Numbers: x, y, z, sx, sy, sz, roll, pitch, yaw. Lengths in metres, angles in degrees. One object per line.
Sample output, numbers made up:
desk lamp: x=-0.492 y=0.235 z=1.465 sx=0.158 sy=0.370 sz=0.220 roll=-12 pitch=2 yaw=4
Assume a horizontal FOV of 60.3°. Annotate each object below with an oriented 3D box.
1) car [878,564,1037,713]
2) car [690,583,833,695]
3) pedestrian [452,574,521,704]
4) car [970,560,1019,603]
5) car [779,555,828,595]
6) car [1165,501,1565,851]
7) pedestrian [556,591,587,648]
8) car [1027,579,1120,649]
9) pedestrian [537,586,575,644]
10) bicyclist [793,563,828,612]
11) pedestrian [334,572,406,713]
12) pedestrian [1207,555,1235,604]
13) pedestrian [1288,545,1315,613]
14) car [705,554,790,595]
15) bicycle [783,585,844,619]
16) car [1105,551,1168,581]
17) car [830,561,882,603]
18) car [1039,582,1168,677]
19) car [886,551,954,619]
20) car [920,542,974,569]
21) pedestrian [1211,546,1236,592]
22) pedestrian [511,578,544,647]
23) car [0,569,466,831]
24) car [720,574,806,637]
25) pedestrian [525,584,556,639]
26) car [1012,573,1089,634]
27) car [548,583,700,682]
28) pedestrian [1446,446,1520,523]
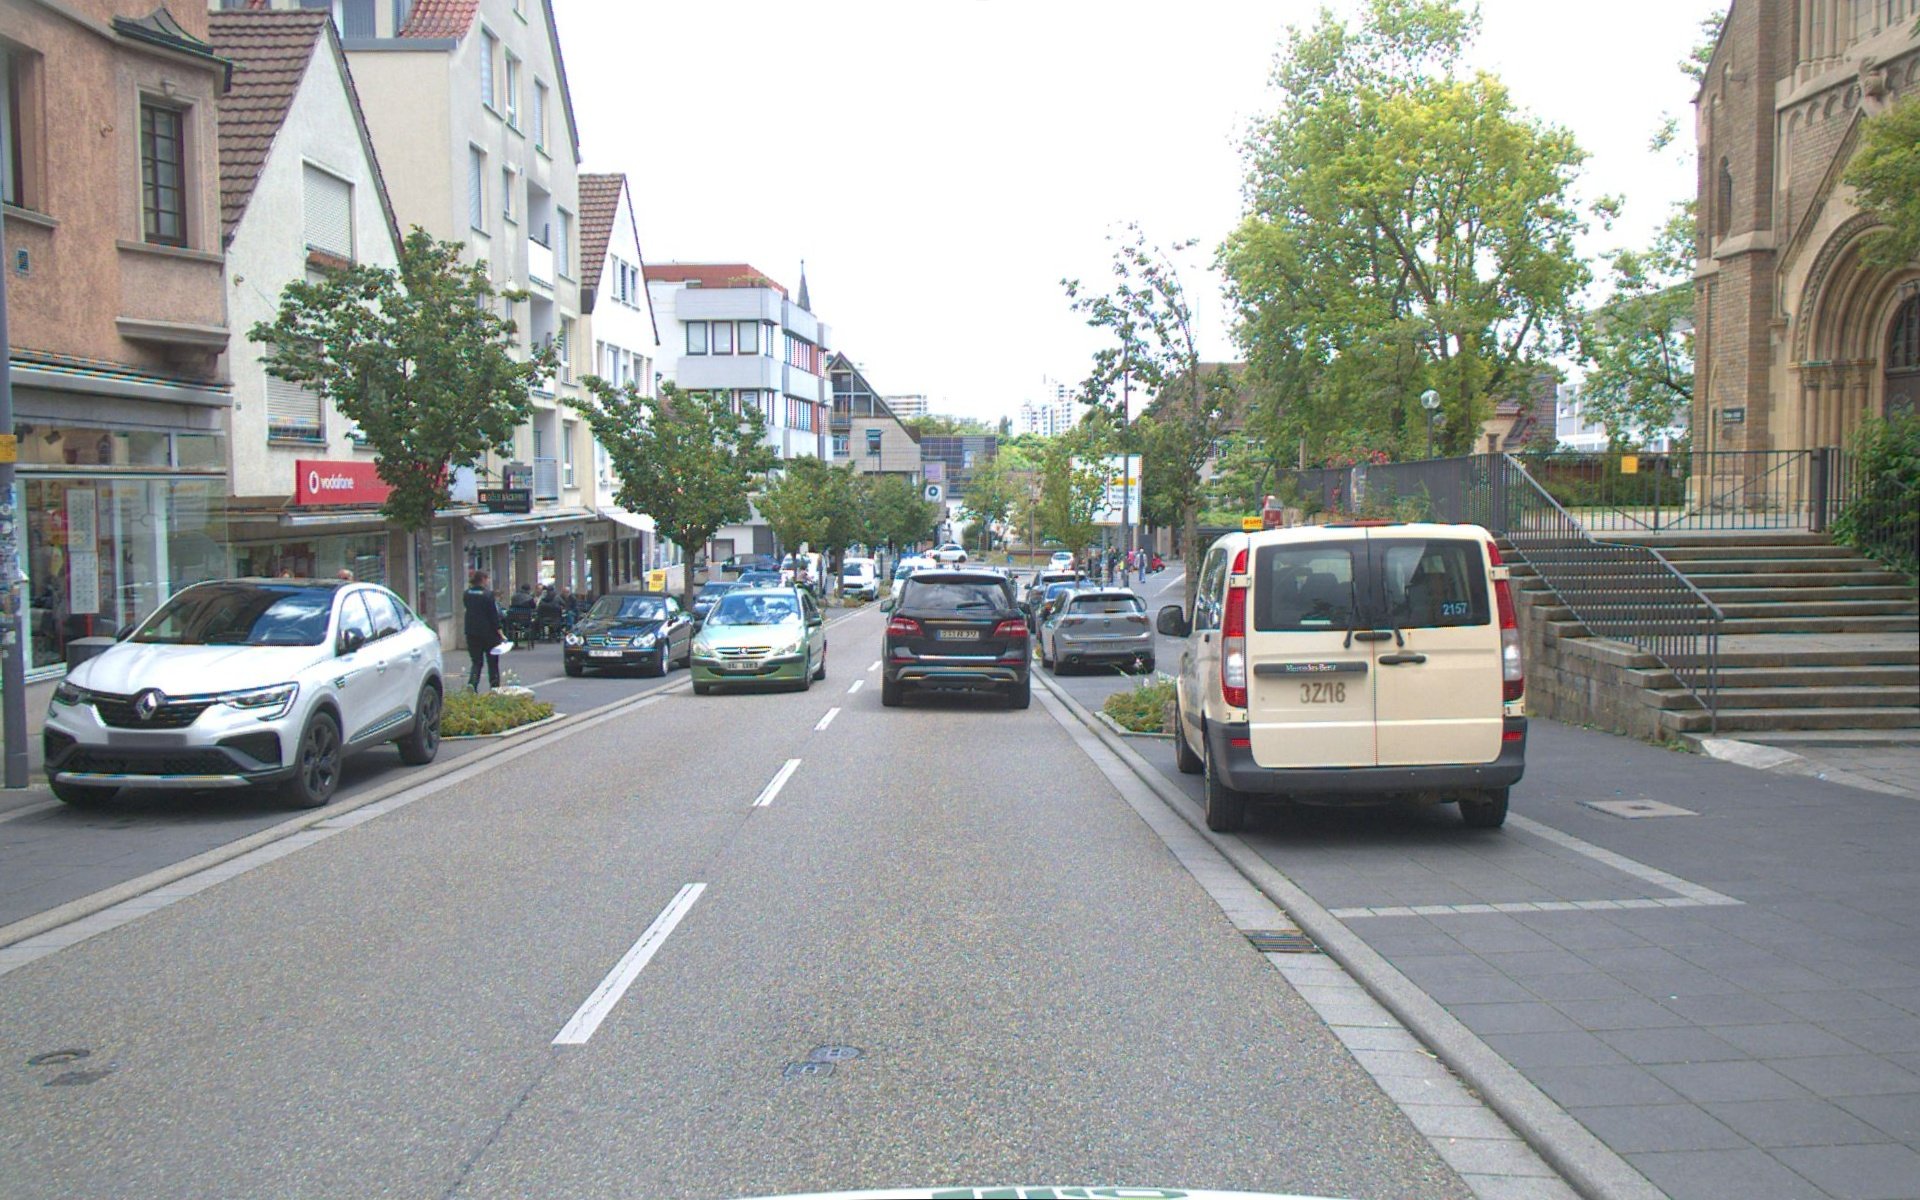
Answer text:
car: x=-0.038 y=0.434 z=22.155 sx=1.904 sy=1.770 sz=4.179 roll=1 pitch=1 yaw=0
car: x=-2.952 y=0.534 z=25.330 sx=1.775 sy=1.534 sz=3.999 roll=-1 pitch=0 yaw=-1
pedestrian: x=-6.287 y=0.505 z=21.996 sx=0.712 sy=1.696 sz=0.720 roll=0 pitch=0 yaw=-2
car: x=1.423 y=-0.794 z=69.220 sx=1.887 sy=1.657 sz=4.262 roll=2 pitch=1 yaw=0
car: x=-6.881 y=-1.104 z=73.168 sx=1.888 sy=1.657 sz=4.413 roll=2 pitch=1 yaw=-2
car: x=2.601 y=0.385 z=11.797 sx=1.897 sy=1.924 sz=4.709 roll=-2 pitch=1 yaw=4
pedestrian: x=-9.190 y=0.455 z=39.153 sx=0.553 sy=1.304 sz=0.758 roll=-1 pitch=0 yaw=-1
car: x=2.689 y=0.289 z=40.167 sx=1.898 sy=1.482 sz=4.707 roll=-3 pitch=1 yaw=0
pedestrian: x=-9.228 y=0.333 z=37.800 sx=0.673 sy=1.304 sz=0.676 roll=-1 pitch=0 yaw=-2
bicyclist: x=-5.133 y=-0.428 z=56.794 sx=0.951 sy=1.637 sz=0.724 roll=-3 pitch=0 yaw=-27
pedestrian: x=-7.228 y=0.513 z=20.284 sx=0.628 sy=1.696 sz=0.720 roll=0 pitch=0 yaw=-2
pedestrian: x=10.672 y=-0.855 z=67.692 sx=1.027 sy=1.946 sz=0.937 roll=-3 pitch=0 yaw=6
pedestrian: x=8.260 y=-0.503 z=40.019 sx=0.556 sy=1.614 sz=0.666 roll=-1 pitch=0 yaw=8
car: x=-10.330 y=-1.236 z=80.667 sx=3.909 sy=1.780 sz=1.998 roll=-3 pitch=0 yaw=-5
bicycle: x=-5.028 y=0.067 z=56.853 sx=1.934 sy=1.076 sz=0.706 roll=-3 pitch=0 yaw=-28
car: x=12.546 y=-2.398 z=117.863 sx=4.117 sy=2.065 sz=1.780 roll=-1 pitch=0 yaw=-17
car: x=-4.385 y=-0.788 z=70.232 sx=1.887 sy=1.657 sz=4.262 roll=2 pitch=1 yaw=0
car: x=2.482 y=0.460 z=29.674 sx=1.898 sy=1.482 sz=4.707 roll=-1 pitch=1 yaw=0
car: x=-1.478 y=-0.576 z=63.642 sx=2.128 sy=2.405 sz=4.625 roll=-3 pitch=0 yaw=3
car: x=-1.071 y=-3.561 z=133.692 sx=3.999 sy=2.049 sz=1.994 roll=1 pitch=1 yaw=-12
pedestrian: x=12.879 y=-1.536 z=80.841 sx=0.990 sy=2.188 sz=1.068 roll=-2 pitch=0 yaw=18
pedestrian: x=-9.890 y=0.278 z=37.829 sx=0.562 sy=1.561 sz=0.676 roll=-1 pitch=0 yaw=-1
car: x=-5.400 y=0.611 z=12.913 sx=1.888 sy=1.623 sz=4.456 roll=2 pitch=1 yaw=-3
car: x=-5.414 y=0.107 z=45.928 sx=1.887 sy=1.657 sz=4.262 roll=0 pitch=1 yaw=0
pedestrian: x=-9.935 y=0.269 z=39.154 sx=0.553 sy=1.304 sz=0.758 roll=0 pitch=0 yaw=-1
car: x=2.481 y=0.055 z=46.463 sx=1.898 sy=1.571 sz=4.707 roll=-1 pitch=1 yaw=0
car: x=-5.858 y=0.509 z=29.337 sx=1.888 sy=1.522 sz=4.261 roll=2 pitch=1 yaw=-2
pedestrian: x=8.917 y=-1.959 z=28.241 sx=0.970 sy=1.252 sz=0.984 roll=0 pitch=0 yaw=1
